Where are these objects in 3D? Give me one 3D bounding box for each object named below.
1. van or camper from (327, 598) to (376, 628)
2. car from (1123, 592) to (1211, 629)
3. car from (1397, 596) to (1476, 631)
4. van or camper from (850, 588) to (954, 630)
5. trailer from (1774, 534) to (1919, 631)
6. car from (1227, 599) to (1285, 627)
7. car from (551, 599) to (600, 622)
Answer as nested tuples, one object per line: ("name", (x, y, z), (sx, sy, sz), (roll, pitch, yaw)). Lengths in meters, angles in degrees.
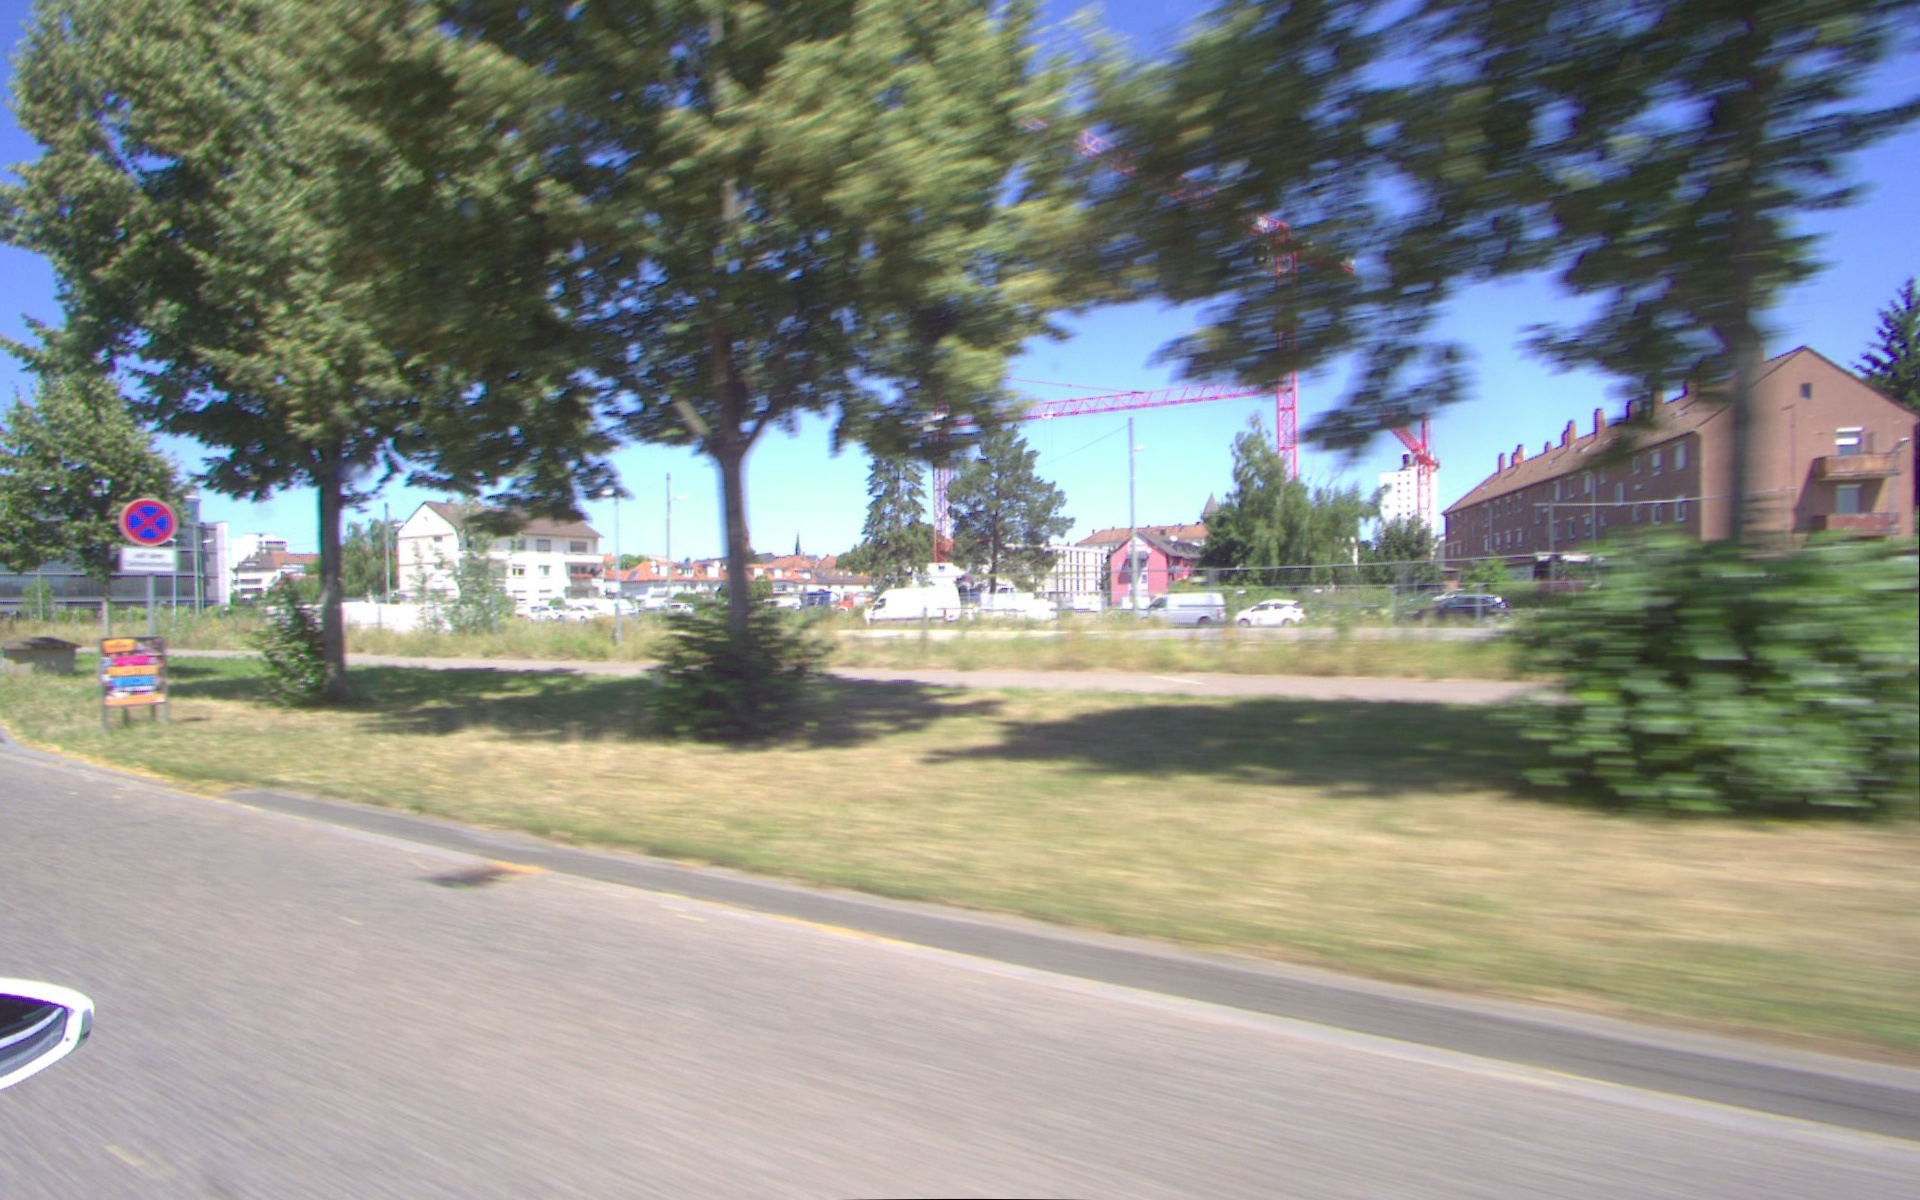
("van or camper", (-59.537, 1.237, 97.986), (4.591, 2.839, 1.991), (-1, 0, 29))
("car", (11.736, 0.619, 56.901), (4.606, 2.040, 1.779), (-1, 0, 25))
("car", (23.383, 0.675, 49.201), (3.370, 1.635, 1.362), (-1, 0, 33))
("van or camper", (-3.842, 0.646, 65.691), (6.899, 2.636, 1.920), (-1, 0, 31))
("trailer", (36.853, -0.660, 38.216), (8.881, 3.579, 3.142), (-1, 0, 38))
("car", (16.079, 0.699, 54.357), (2.750, 1.425, 1.410), (0, 2, 32))
("car", (-30.895, 0.847, 80.440), (3.567, 1.607, 1.673), (-2, 0, 28))
